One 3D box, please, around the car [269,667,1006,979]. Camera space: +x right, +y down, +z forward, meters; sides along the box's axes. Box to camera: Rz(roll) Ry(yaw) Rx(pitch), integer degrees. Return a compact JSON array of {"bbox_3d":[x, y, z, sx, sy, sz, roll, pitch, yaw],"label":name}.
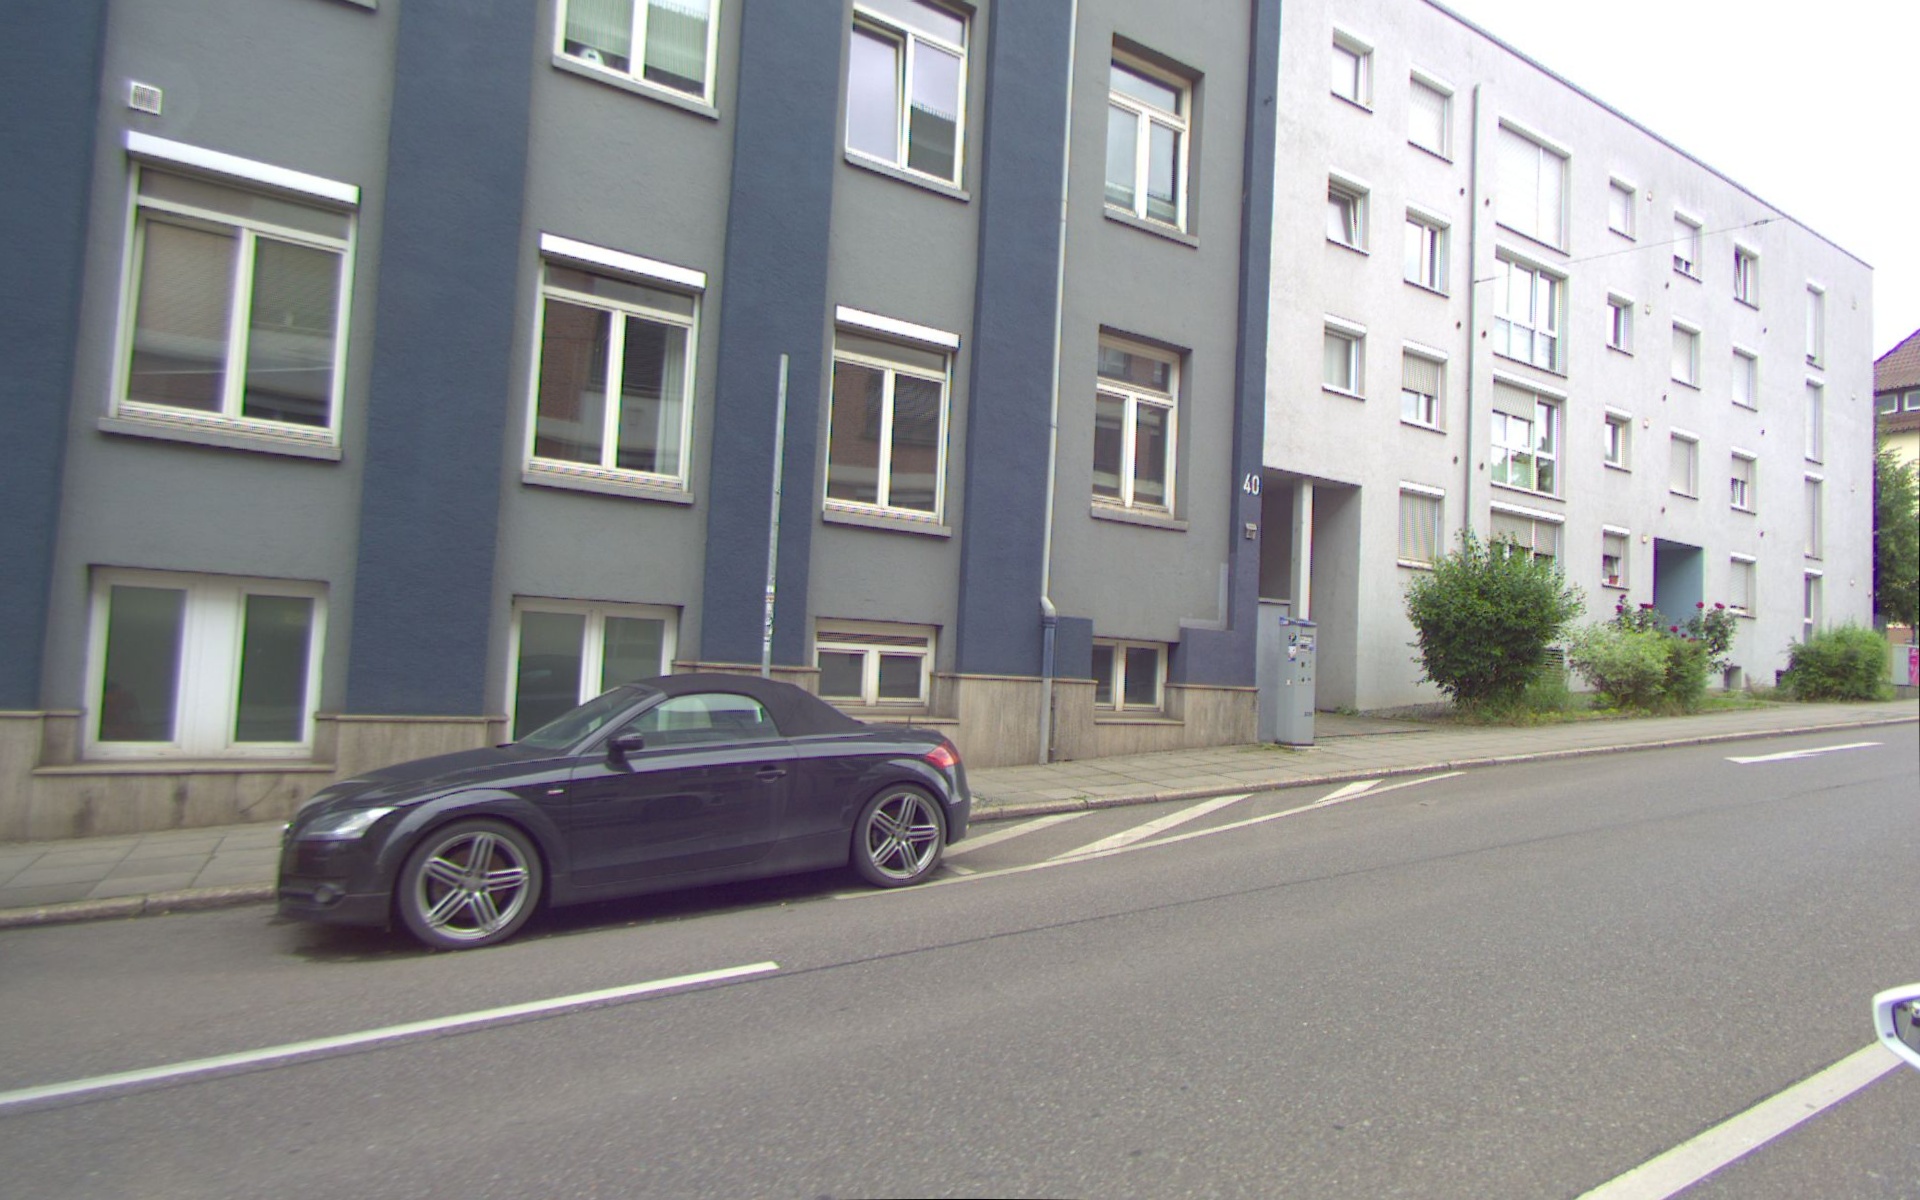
[{"bbox_3d":[-1.844,1.130,6.333,3.995,1.344,1.712,1,-4,-31],"label":"car"}]
